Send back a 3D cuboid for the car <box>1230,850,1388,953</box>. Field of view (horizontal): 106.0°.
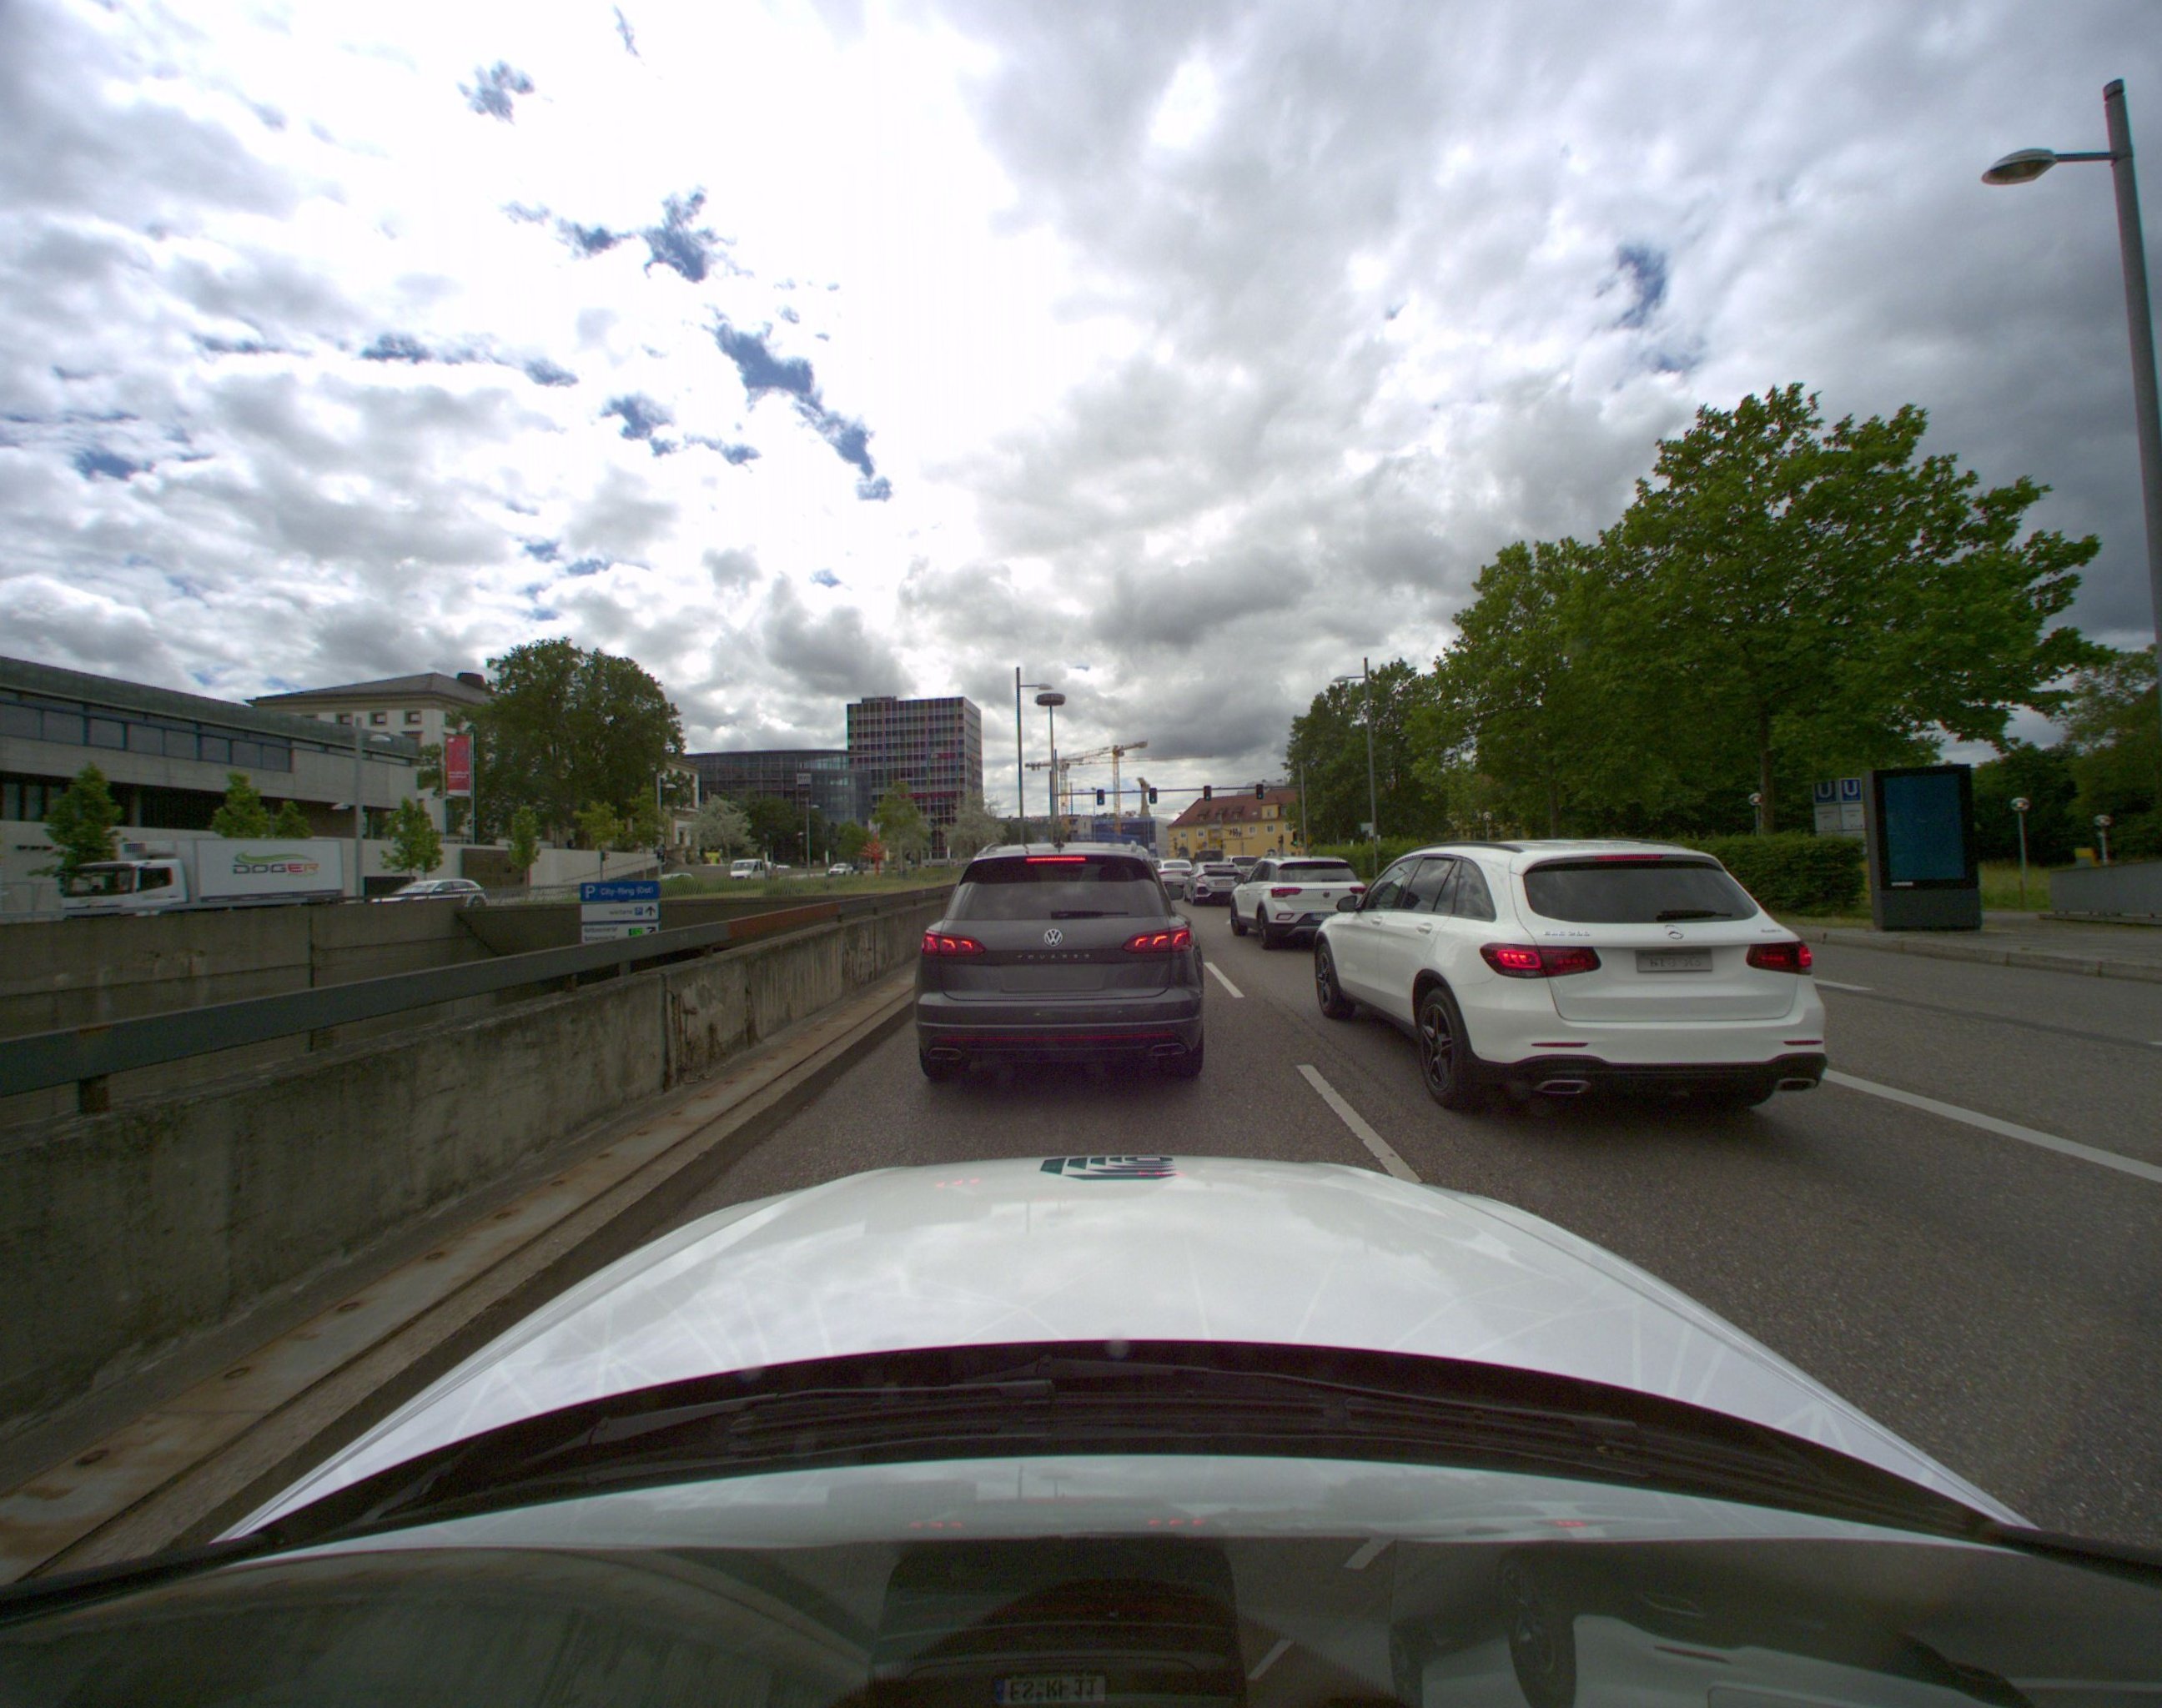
[{"bbox_3d":[3.917,0.736,14.678,1.886,1.585,3.803,-1,0,2],"label":"car"}]

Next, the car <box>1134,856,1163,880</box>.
[{"bbox_3d":[5.164,1.076,62.443,2.129,1.728,4.075,-1,-1,5],"label":"car"}]

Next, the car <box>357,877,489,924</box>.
[{"bbox_3d":[-26.629,1.831,33.179,1.712,1.574,4.274,-1,0,3],"label":"car"}]

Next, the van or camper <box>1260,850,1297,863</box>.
[{"bbox_3d":[34.293,0.472,141.656,5.947,2.014,2.032,-2,-1,37],"label":"van or camper"}]

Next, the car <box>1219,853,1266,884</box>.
[{"bbox_3d":[8.166,0.700,41.443,1.795,1.502,3.984,-1,0,3],"label":"car"}]

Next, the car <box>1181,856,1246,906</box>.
[{"bbox_3d":[4.369,0.852,27.333,1.712,1.502,4.147,-1,0,3],"label":"car"}]

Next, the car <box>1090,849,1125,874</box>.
[{"bbox_3d":[1.830,0.475,54.204,2.235,1.502,4.615,-1,0,3],"label":"car"}]

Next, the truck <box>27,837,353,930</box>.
[{"bbox_3d":[-30.558,0.867,28.587,3.218,2.787,7.258,-1,0,2],"label":"truck"}]

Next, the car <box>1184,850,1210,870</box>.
[{"bbox_3d":[9.235,0.434,64.887,1.712,1.502,3.984,-1,0,3],"label":"car"}]

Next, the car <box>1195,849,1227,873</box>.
[{"bbox_3d":[8.766,0.467,55.077,1.712,1.502,3.984,-1,0,3],"label":"car"}]

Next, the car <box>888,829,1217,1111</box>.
[{"bbox_3d":[-0.105,0.685,6.829,1.925,1.647,4.002,-1,0,2],"label":"car"}]

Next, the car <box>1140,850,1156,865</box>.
[{"bbox_3d":[9.288,0.465,113.831,1.986,2.013,4.002,-1,0,2],"label":"car"}]

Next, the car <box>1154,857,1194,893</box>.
[{"bbox_3d":[4.243,0.926,37.595,1.711,1.502,3.987,-1,0,5],"label":"car"}]

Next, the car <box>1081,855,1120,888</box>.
[{"bbox_3d":[0.971,0.821,39.555,1.807,1.496,3.908,-1,0,2],"label":"car"}]

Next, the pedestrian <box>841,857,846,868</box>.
[{"bbox_3d":[-34.654,1.221,118.679,0.522,1.649,0.650,0,-1,0],"label":"pedestrian"}]

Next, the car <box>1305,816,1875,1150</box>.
[{"bbox_3d":[3.134,0.644,6.257,1.811,1.647,4.382,-1,0,3],"label":"car"}]

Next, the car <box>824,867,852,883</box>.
[{"bbox_3d":[-28.117,2.418,94.356,1.712,1.574,4.616,-1,0,3],"label":"car"}]

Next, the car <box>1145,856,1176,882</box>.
[{"bbox_3d":[4.858,0.913,50.291,1.712,1.502,3.984,-1,0,3],"label":"car"}]

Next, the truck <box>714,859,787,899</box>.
[{"bbox_3d":[-25.900,1.903,64.113,2.453,2.816,7.084,-1,0,3],"label":"truck"}]

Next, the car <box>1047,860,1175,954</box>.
[{"bbox_3d":[0.532,0.850,14.812,1.986,1.387,4.002,-1,0,2],"label":"car"}]
